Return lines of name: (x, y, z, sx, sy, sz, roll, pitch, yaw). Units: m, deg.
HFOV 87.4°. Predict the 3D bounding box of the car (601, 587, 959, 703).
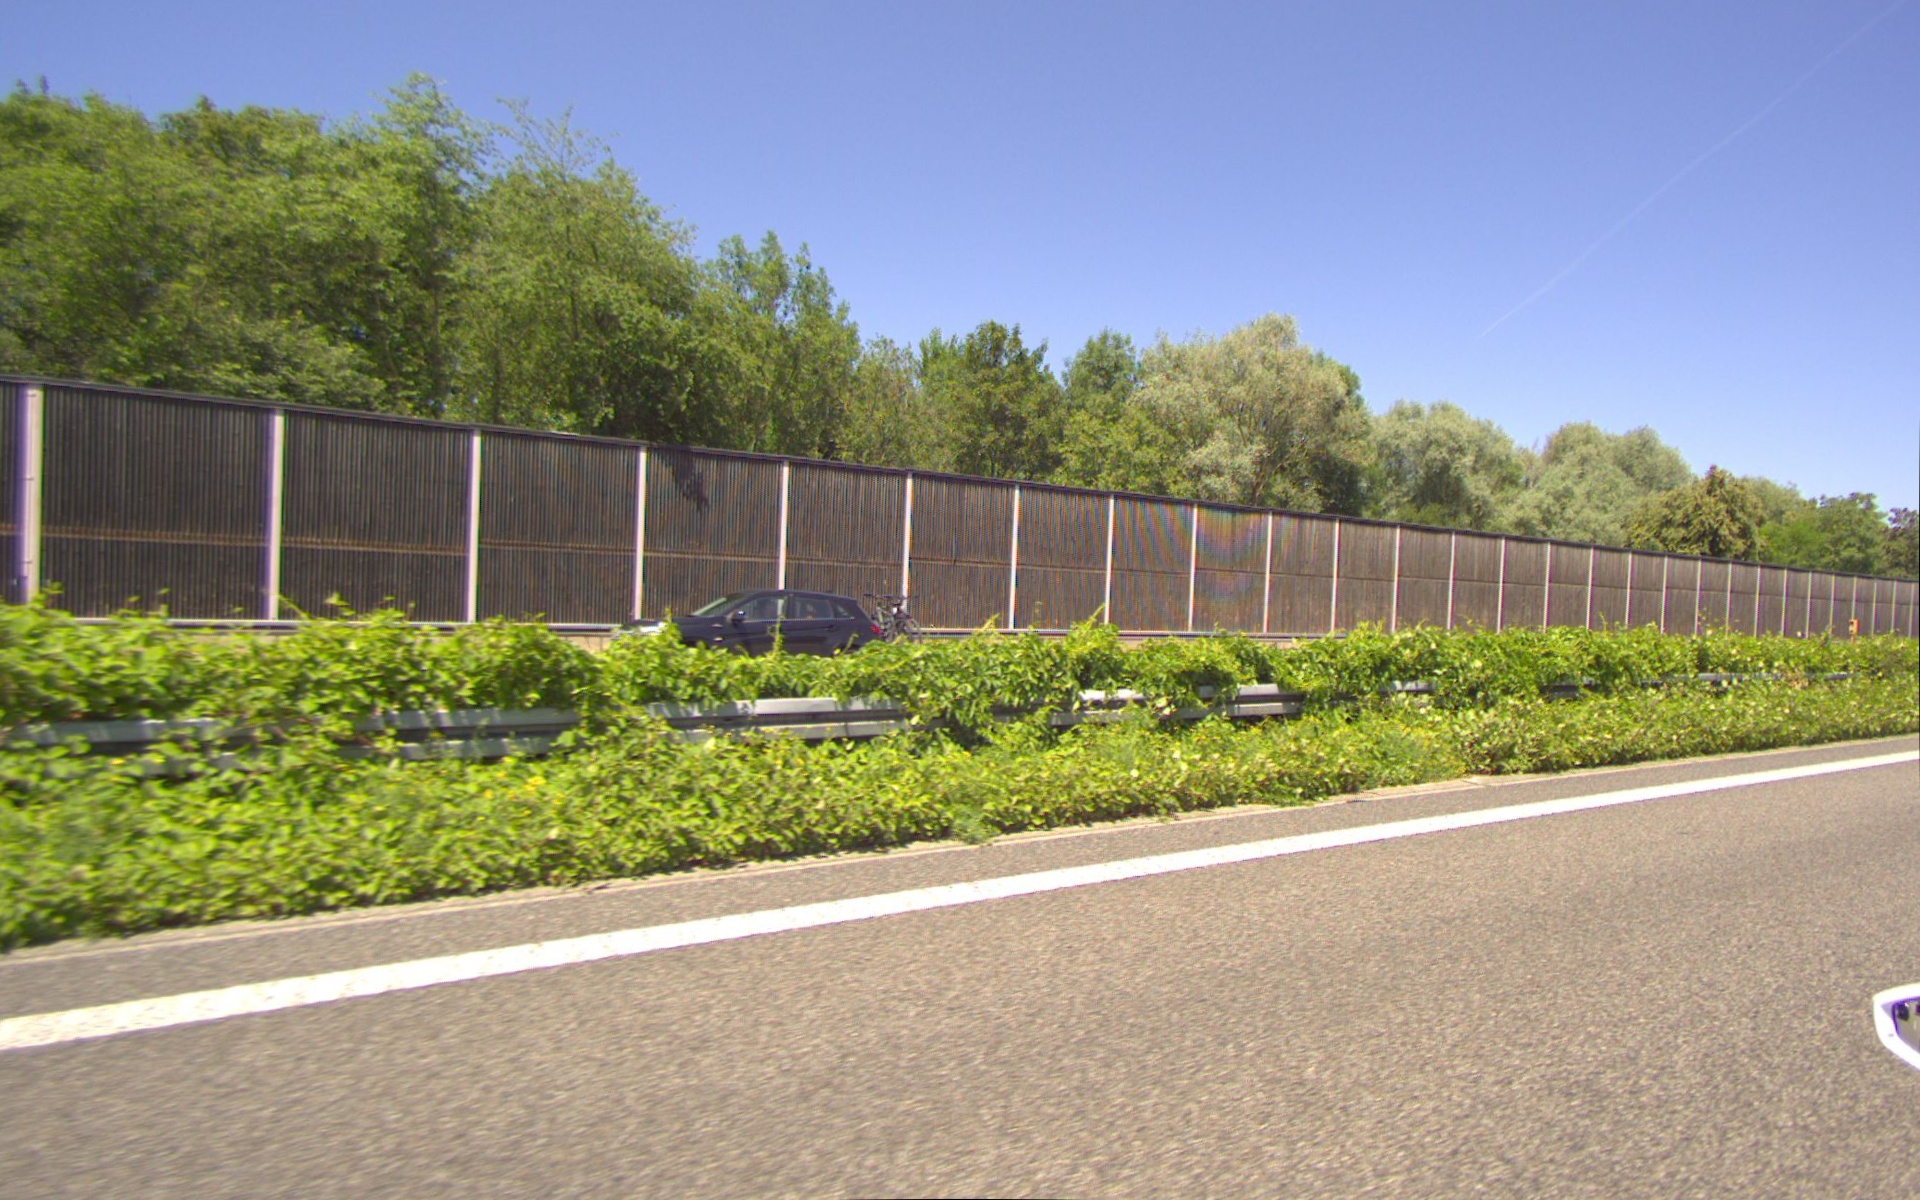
car: (-2.884, 0.701, 16.684, 5.524, 1.665, 1.983, 2, 0, -32)
